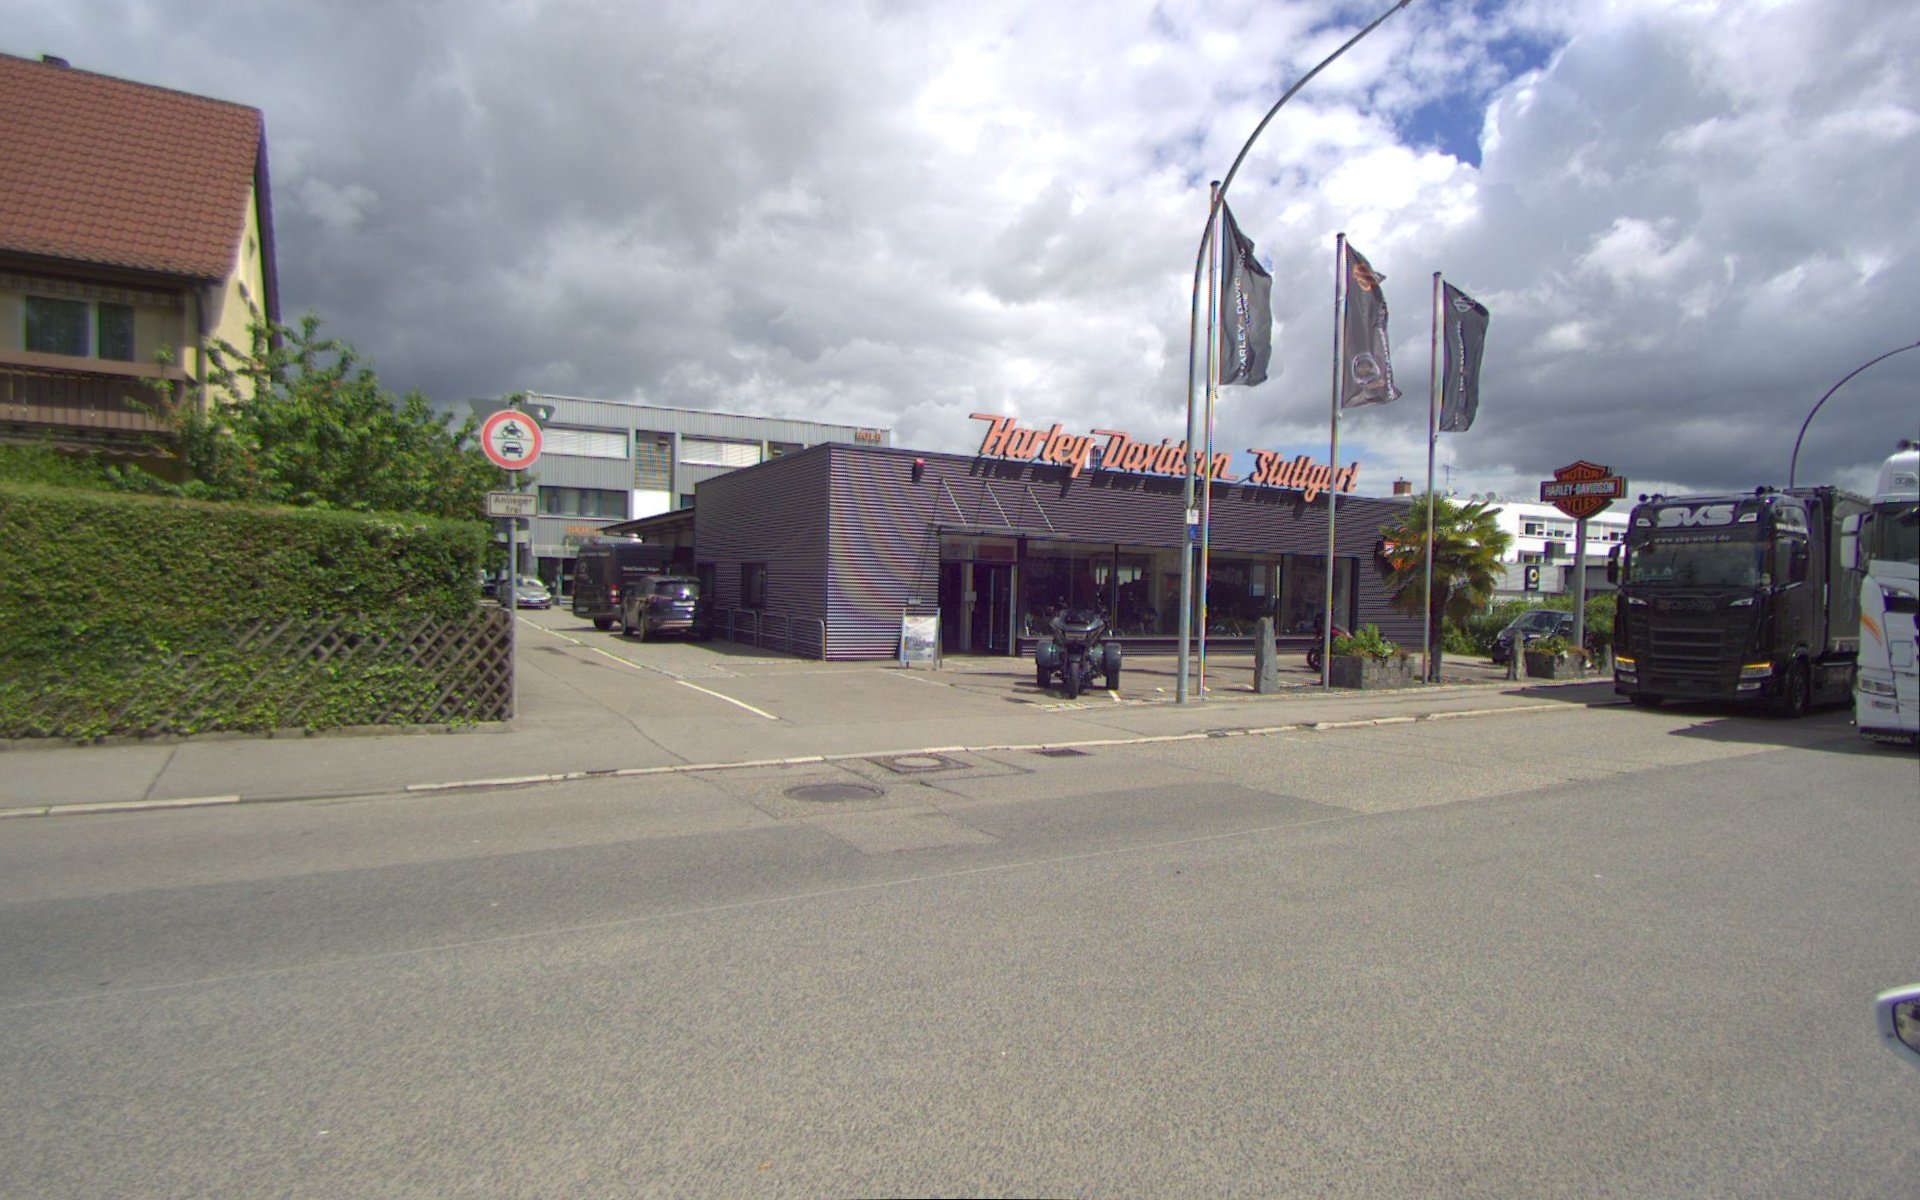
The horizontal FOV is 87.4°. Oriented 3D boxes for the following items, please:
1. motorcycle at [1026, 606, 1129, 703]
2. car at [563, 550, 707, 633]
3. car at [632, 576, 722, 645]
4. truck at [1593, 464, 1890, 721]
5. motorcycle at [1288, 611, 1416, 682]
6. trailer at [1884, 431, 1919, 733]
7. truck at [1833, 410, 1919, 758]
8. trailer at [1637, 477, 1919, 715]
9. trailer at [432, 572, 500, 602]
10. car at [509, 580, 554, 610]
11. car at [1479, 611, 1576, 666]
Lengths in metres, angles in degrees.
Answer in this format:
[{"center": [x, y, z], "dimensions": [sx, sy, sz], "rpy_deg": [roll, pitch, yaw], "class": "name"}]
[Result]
[{"center": [1.885, 0.793, 15.749], "dimensions": [1.436, 1.309, 2.454], "rpy_deg": [2, 1, 9], "class": "motorcycle"}, {"center": [-10.074, -0.258, 31.397], "dimensions": [1.964, 2.397, 3.993], "rpy_deg": [3, 1, 29], "class": "car"}, {"center": [-7.581, 0.197, 26.677], "dimensions": [1.870, 1.663, 3.978], "rpy_deg": [-1, 2, -22], "class": "car"}, {"center": [14.993, -0.085, 19.121], "dimensions": [6.441, 4.107, 2.778], "rpy_deg": [2, 1, -37], "class": "truck"}, {"center": [8.283, 0.955, 21.375], "dimensions": [0.838, 1.323, 2.550], "rpy_deg": [2, 1, -30], "class": "motorcycle"}, {"center": [20.014, -0.037, 17.750], "dimensions": [15.211, 4.200, 2.750], "rpy_deg": [2, 1, -38], "class": "trailer"}, {"center": [13.860, -0.118, 13.042], "dimensions": [4.941, 4.174, 2.750], "rpy_deg": [2, 1, -37], "class": "truck"}, {"center": [20.231, 0.073, 23.136], "dimensions": [15.413, 4.107, 2.778], "rpy_deg": [2, 1, -37], "class": "trailer"}, {"center": [-35.874, -0.956, 72.976], "dimensions": [4.357, 2.040, 1.986], "rpy_deg": [2, 1, -28], "class": "trailer"}, {"center": [-21.198, -0.274, 49.626], "dimensions": [1.668, 1.366, 3.969], "rpy_deg": [2, 1, -29], "class": "car"}, {"center": [15.366, 1.036, 27.177], "dimensions": [2.655, 1.382, 1.039], "rpy_deg": [2, 1, -30], "class": "car"}]
